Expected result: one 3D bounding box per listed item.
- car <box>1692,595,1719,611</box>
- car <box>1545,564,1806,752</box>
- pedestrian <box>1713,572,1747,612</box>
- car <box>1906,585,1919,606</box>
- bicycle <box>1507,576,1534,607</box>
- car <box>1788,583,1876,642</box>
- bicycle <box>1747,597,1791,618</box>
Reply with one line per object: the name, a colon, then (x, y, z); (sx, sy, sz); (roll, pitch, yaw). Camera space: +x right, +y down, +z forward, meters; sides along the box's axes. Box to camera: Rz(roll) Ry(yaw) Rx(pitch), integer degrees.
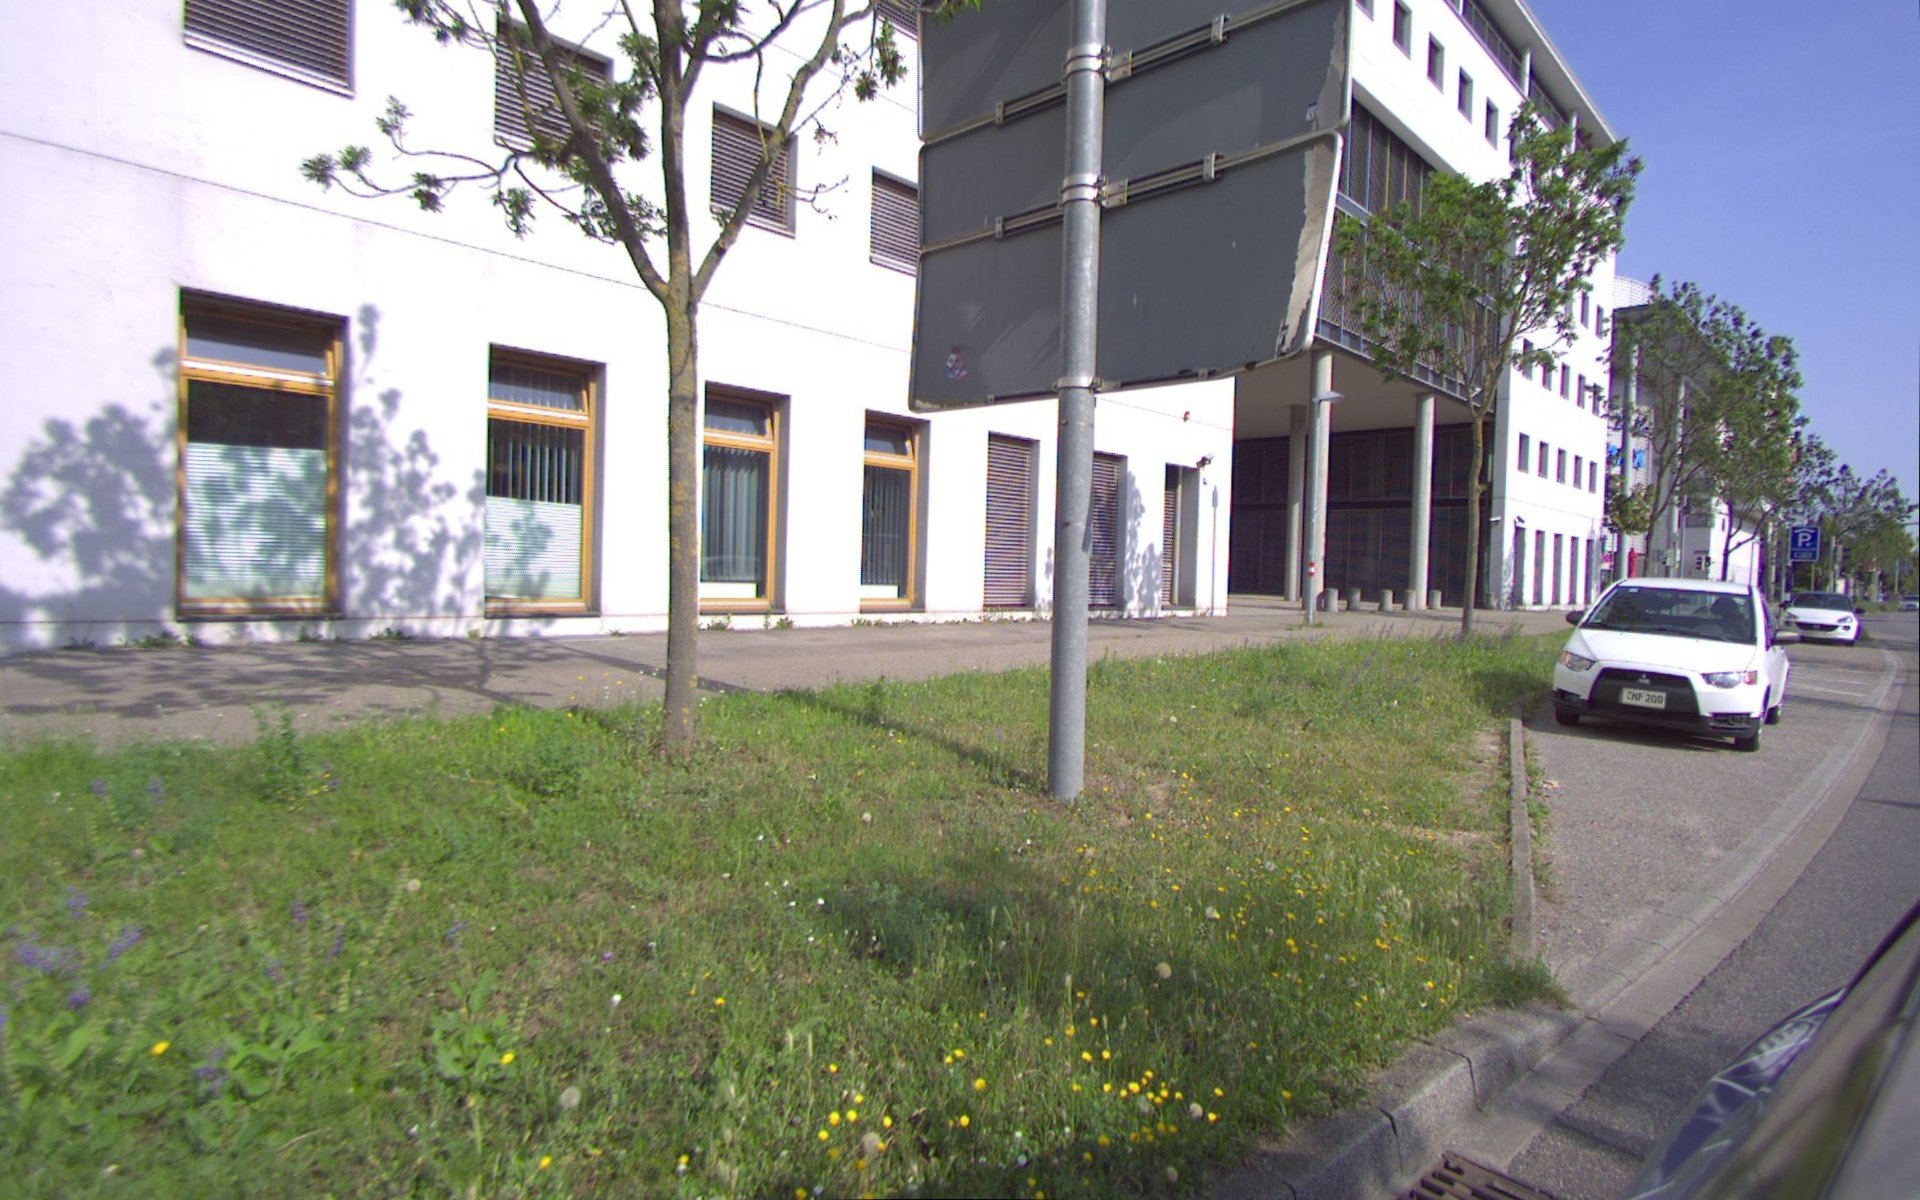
car: (31.320, 0.128, 42.527); (0.488, 0.595, 0.770); (1, 2, -16)
car: (7.490, 0.466, 10.444); (1.689, 1.545, 3.791); (3, 2, 43)
pedestrian: (31.839, -0.335, 41.858); (0.698, 1.635, 0.781); (1, 2, -18)
car: (79.879, -0.365, 83.940); (1.994, 1.682, 3.936); (3, 2, 44)
bicycle: (20.488, -0.325, 36.992); (0.493, 1.099, 1.527); (5, 3, 41)
car: (25.142, 0.325, 29.143); (1.721, 1.538, 3.721); (3, 2, 43)
bicycle: (32.975, 0.297, 41.255); (0.511, 0.639, 1.276); (0, 8, -38)
